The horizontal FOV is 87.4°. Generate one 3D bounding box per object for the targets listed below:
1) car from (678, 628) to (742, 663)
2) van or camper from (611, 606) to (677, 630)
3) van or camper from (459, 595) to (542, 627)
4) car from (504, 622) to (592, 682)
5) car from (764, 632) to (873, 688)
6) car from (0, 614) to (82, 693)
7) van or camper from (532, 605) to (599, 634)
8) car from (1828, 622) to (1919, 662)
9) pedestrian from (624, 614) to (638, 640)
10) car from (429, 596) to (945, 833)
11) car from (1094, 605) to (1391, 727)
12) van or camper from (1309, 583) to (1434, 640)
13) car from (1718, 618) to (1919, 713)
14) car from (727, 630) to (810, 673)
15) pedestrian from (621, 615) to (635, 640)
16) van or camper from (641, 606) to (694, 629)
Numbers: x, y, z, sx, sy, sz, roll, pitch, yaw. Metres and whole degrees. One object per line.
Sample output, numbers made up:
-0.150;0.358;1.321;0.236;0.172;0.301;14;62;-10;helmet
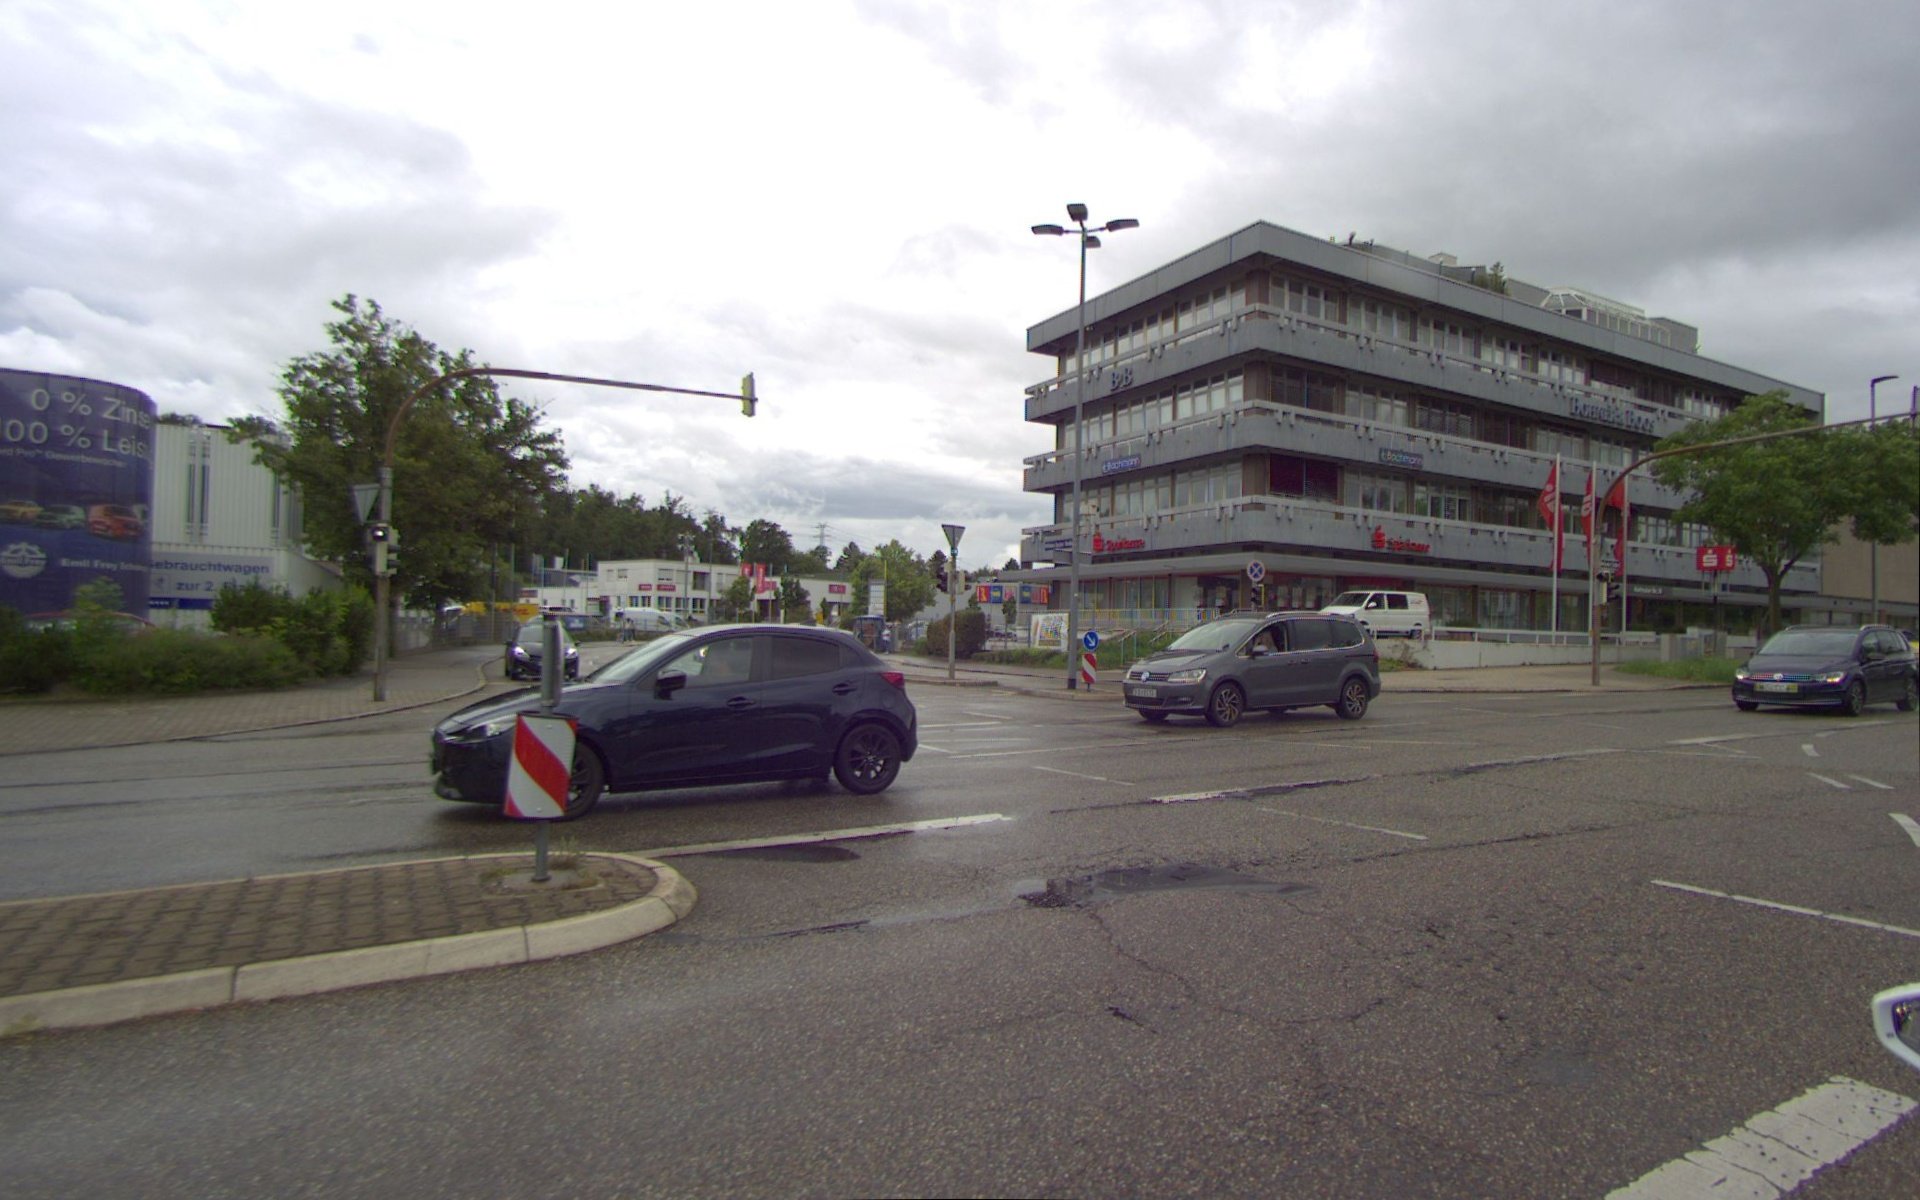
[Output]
-11.680;2.074;46.836;1.857;1.509;4.129;1;-1;-30;car
-26.884;1.553;85.645;5.025;2.040;1.976;1;-2;-42;van or camper
-35.286;0.859;77.231;5.658;2.387;1.924;1;-1;-31;van or camper
-11.473;1.388;27.813;1.796;1.508;3.962;1;-1;-29;car
-4.279;1.722;29.919;1.857;1.508;4.129;1;-1;-30;car
-17.192;0.939;18.019;1.673;1.311;3.717;1;-2;-34;car
-29.096;1.461;74.105;4.528;2.072;1.839;1;-1;-26;van or camper
38.721;1.718;41.817;1.861;1.572;4.002;0;-2;5;car
-23.795;1.939;72.743;0.731;1.911;0.724;0;-1;5;pedestrian
-2.237;0.839;8.621;3.958;1.601;1.700;1;-2;-34;car
4.688;1.001;16.424;4.827;1.750;1.901;1;-1;-31;car
15.962;0.463;38.894;4.733;1.993;1.984;2;0;-31;van or camper
16.466;1.181;19.176;4.317;1.629;1.899;1;-2;-34;car
-6.882;1.806;35.842;1.856;1.418;3.671;1;-1;-29;car
-23.790;1.978;71.967;0.849;1.803;0.532;0;-1;5;pedestrian
-26.281;1.581;90.263;4.213;2.040;1.800;1;0;-43;van or camper
